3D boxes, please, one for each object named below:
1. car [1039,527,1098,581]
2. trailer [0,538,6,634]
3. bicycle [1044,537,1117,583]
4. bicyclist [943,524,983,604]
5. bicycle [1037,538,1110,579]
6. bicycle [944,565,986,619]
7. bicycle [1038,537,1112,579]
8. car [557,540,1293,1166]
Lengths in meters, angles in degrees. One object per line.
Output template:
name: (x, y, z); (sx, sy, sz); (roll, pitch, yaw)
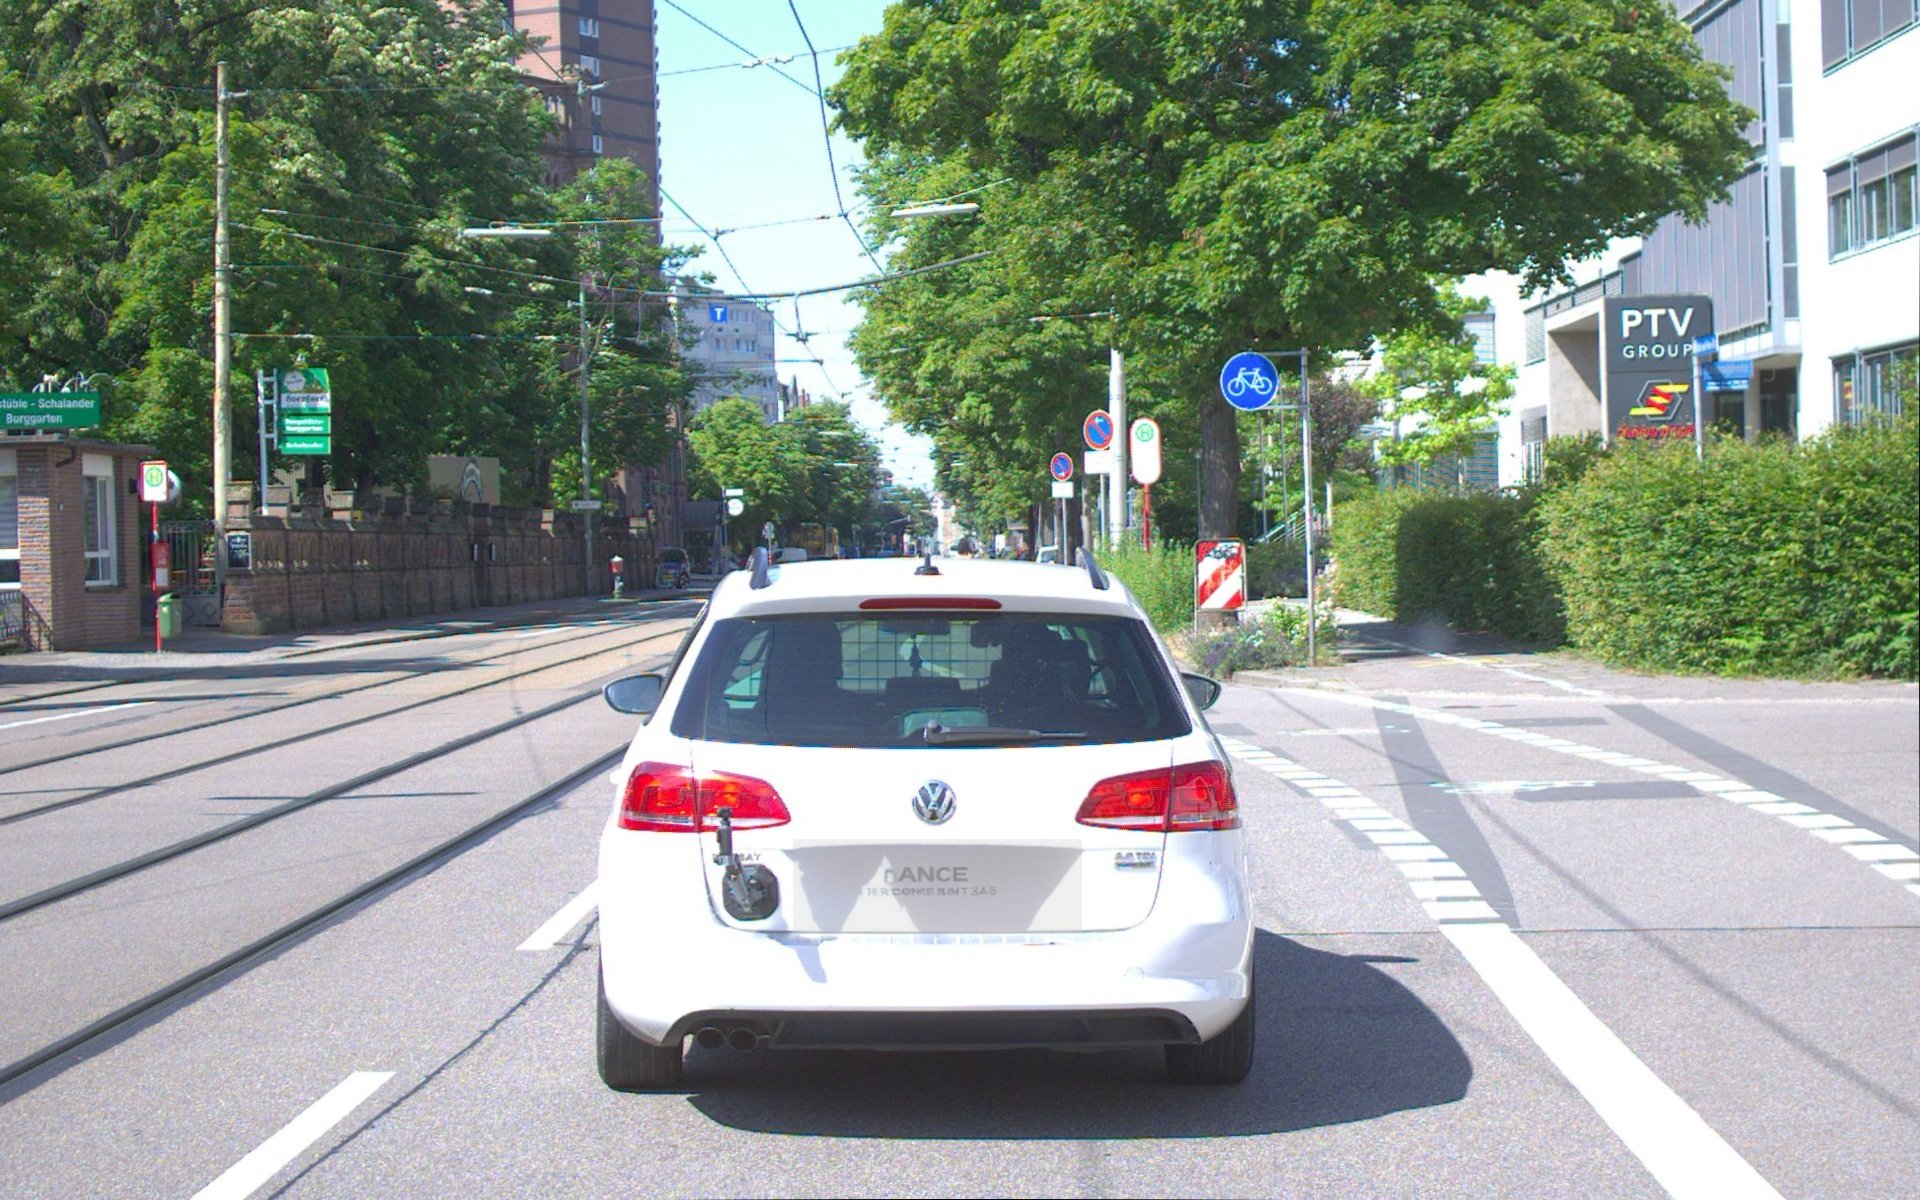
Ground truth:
car: (3.054, -1.313, 97.439); (1.590, 1.446, 3.946); (-2, 1, 1)
trailer: (-16.849, -0.177, 53.963); (3.215, 1.520, 1.778); (-1, 1, 2)
bicycle: (3.026, -1.011, 86.475); (1.774, 1.079, 0.596); (-2, 1, -2)
bicyclist: (0.059, -0.744, 71.254); (0.786, 1.623, 0.738); (-1, 2, 1)
bicycle: (3.062, -1.127, 92.682); (1.911, 1.079, 0.551); (1, 1, -2)
bicycle: (0.108, -0.176, 71.054); (0.811, 1.074, 2.012); (-1, 1, 1)
bicycle: (3.079, -1.122, 92.069); (1.911, 1.079, 0.551); (1, 1, -2)
car: (-0.100, 0.569, 10.425); (1.753, 1.437, 4.413); (0, 2, 0)
